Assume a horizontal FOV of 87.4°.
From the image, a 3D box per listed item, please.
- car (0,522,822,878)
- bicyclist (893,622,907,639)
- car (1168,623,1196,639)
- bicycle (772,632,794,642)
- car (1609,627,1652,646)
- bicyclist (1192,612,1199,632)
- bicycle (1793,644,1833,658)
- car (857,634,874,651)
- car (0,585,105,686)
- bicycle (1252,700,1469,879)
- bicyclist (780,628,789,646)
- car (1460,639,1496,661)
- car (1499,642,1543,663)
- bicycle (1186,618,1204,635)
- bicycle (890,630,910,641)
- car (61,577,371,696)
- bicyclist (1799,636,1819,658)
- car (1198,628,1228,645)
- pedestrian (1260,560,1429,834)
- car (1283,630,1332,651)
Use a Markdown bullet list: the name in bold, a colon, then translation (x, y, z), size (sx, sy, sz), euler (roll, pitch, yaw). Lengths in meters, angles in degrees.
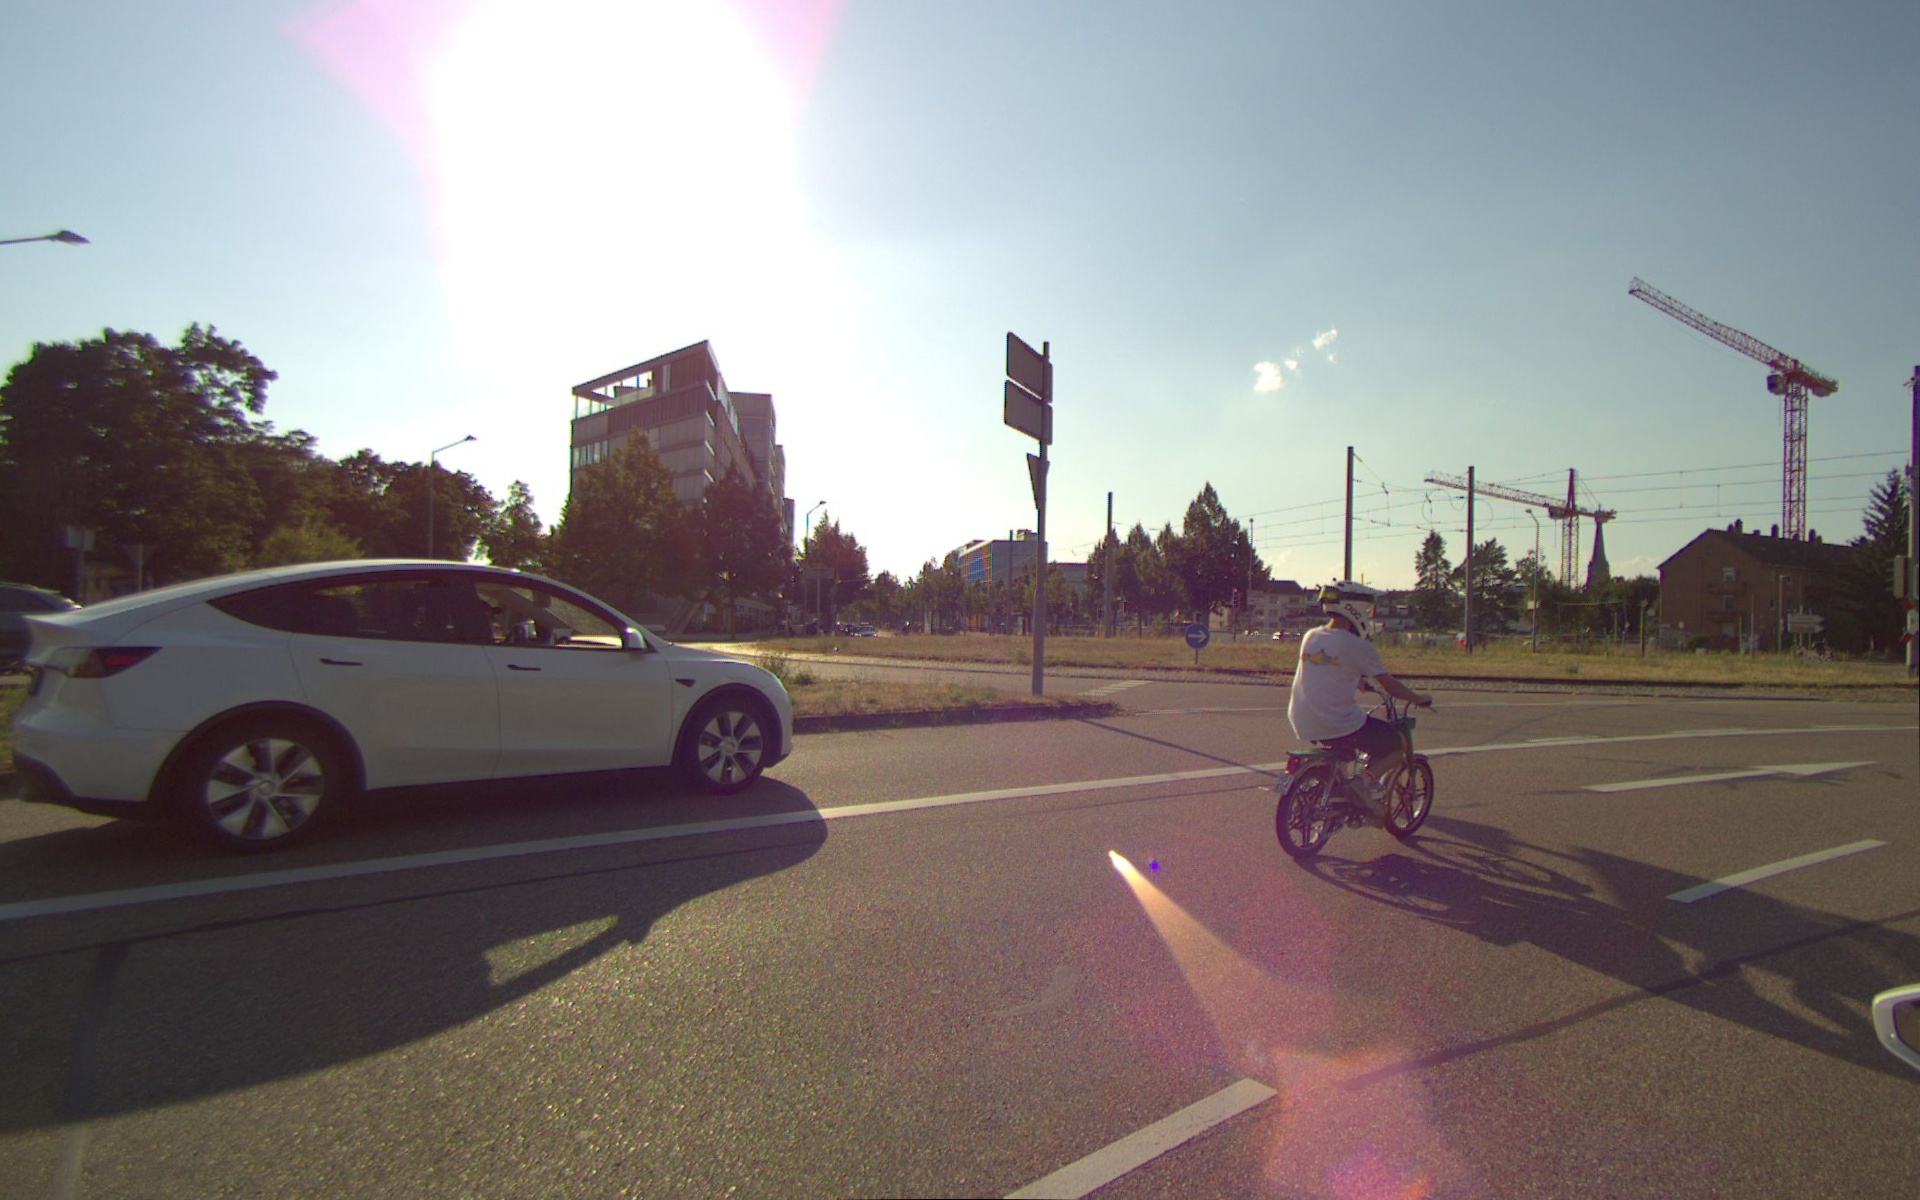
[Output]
- **car**: translation (-3.339, 0.511, 6.826), size (1.717, 1.620, 4.648), euler (2, 0, 45)
- **bicyclist**: translation (-5.099, 2.588, 85.060), size (0.944, 1.375, 0.689), euler (1, -1, -24)
- **car**: translation (30.208, 4.207, 136.774), size (1.968, 2.040, 3.985), euler (1, -1, -17)
- **bicycle**: translation (-13.915, 2.938, 78.979), size (1.690, 0.754, 0.480), euler (1, -1, -9)
- **car**: translation (76.837, 4.153, 115.194), size (1.654, 2.040, 3.787), euler (3, -2, -33)
- **bicyclist**: translation (20.784, 1.959, 88.672), size (0.596, 1.694, 0.478), euler (1, -1, 18)
- **bicycle**: translation (55.264, 3.293, 65.105), size (1.960, 0.836, 0.429), euler (0, -1, 33)
- **car**: translation (-8.554, 3.863, 91.294), size (1.456, 1.495, 3.297), euler (1, -1, -5)
- **car**: translation (-15.438, 0.521, 14.600), size (1.619, 1.532, 4.648), euler (0, -1, 9)
- **bicycle**: translation (2.584, 1.132, 6.367), size (1.841, 0.887, 0.473), euler (2, -1, -41)
- **bicyclist**: translation (-13.828, 2.909, 78.997), size (0.642, 1.343, 0.518), euler (1, -1, -8)
- **car**: translation (49.843, 4.791, 96.701), size (1.886, 1.878, 4.003), euler (1, -1, 9)
- **car**: translation (60.491, 5.645, 108.316), size (1.654, 2.040, 3.787), euler (3, -2, -33)
- **bicycle**: translation (20.734, 2.365, 88.673), size (1.513, 1.493, 0.480), euler (1, -1, 18)
- **bicycle**: translation (-5.066, 2.991, 85.087), size (1.598, 0.871, 0.542), euler (2, 0, -26)
- **car**: translation (-12.025, 0.563, 16.660), size (1.740, 1.695, 4.202), euler (1, -1, 5)
- **bicyclist**: translation (55.136, 3.038, 65.225), size (0.885, 1.415, 0.524), euler (1, -1, 33)
- **car**: translation (32.269, 4.634, 128.226), size (1.968, 2.040, 3.985), euler (1, -1, -17)
- **pedestrian**: translation (2.366, 0.557, 6.173), size (0.848, 1.539, 0.650), euler (2, -1, -42)
- **car**: translation (32.342, 3.751, 93.516), size (3.919, 1.840, 2.001), euler (1, -1, 6)
